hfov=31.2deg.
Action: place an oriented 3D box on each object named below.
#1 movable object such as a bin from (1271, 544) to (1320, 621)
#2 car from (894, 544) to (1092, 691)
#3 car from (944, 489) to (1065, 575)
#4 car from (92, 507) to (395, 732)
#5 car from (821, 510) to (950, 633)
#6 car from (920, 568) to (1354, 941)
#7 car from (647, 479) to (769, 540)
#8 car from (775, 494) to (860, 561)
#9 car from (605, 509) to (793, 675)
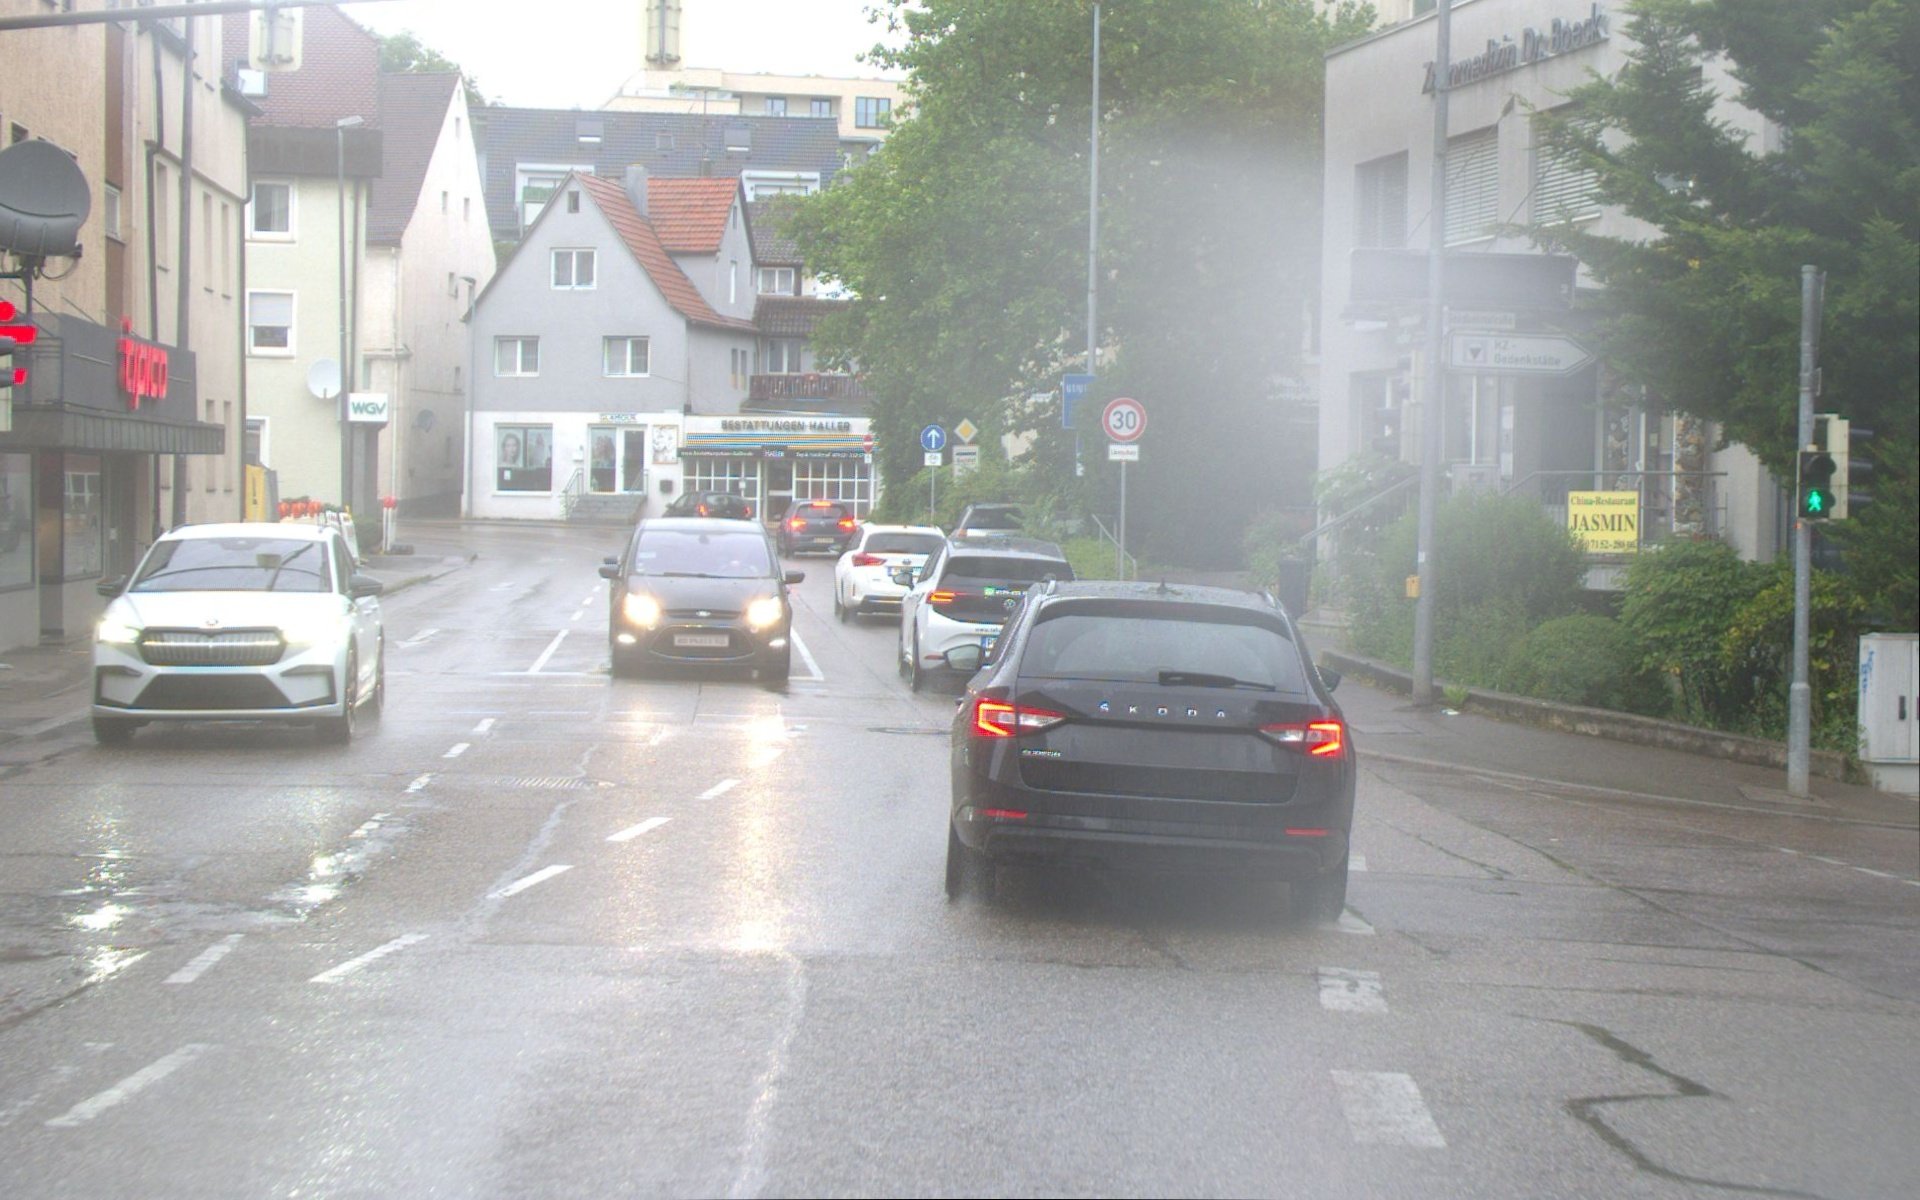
[{"bbox_3d":[4.513,-0.238,46.212,0.512,0.942,0.602,5,6,14],"label":"movable object such as a bin"},{"bbox_3d":[0.283,0.137,35.022,1.818,1.355,3.990,2,1,-2],"label":"car"},{"bbox_3d":[0.841,-1.342,67.426,1.852,1.635,3.872,0,1,-7],"label":"car"},{"bbox_3d":[-5.425,0.083,26.497,1.784,1.555,4.338,1,2,-5],"label":"car"},{"bbox_3d":[-1.132,-0.387,50.605,1.727,1.585,4.184,3,-2,-2],"label":"car"},{"bbox_3d":[0.957,0.626,16.575,1.782,1.478,4.245,2,1,6],"label":"car"},{"bbox_3d":[-7.225,-2.565,98.324,1.893,1.676,3.688,0,1,-34],"label":"car"},{"bbox_3d":[-3.524,-1.764,84.697,1.892,1.585,3.689,0,1,-5],"label":"car"},{"bbox_3d":[-2.774,-0.135,36.121,1.784,1.557,4.403,2,2,-5],"label":"car"}]
